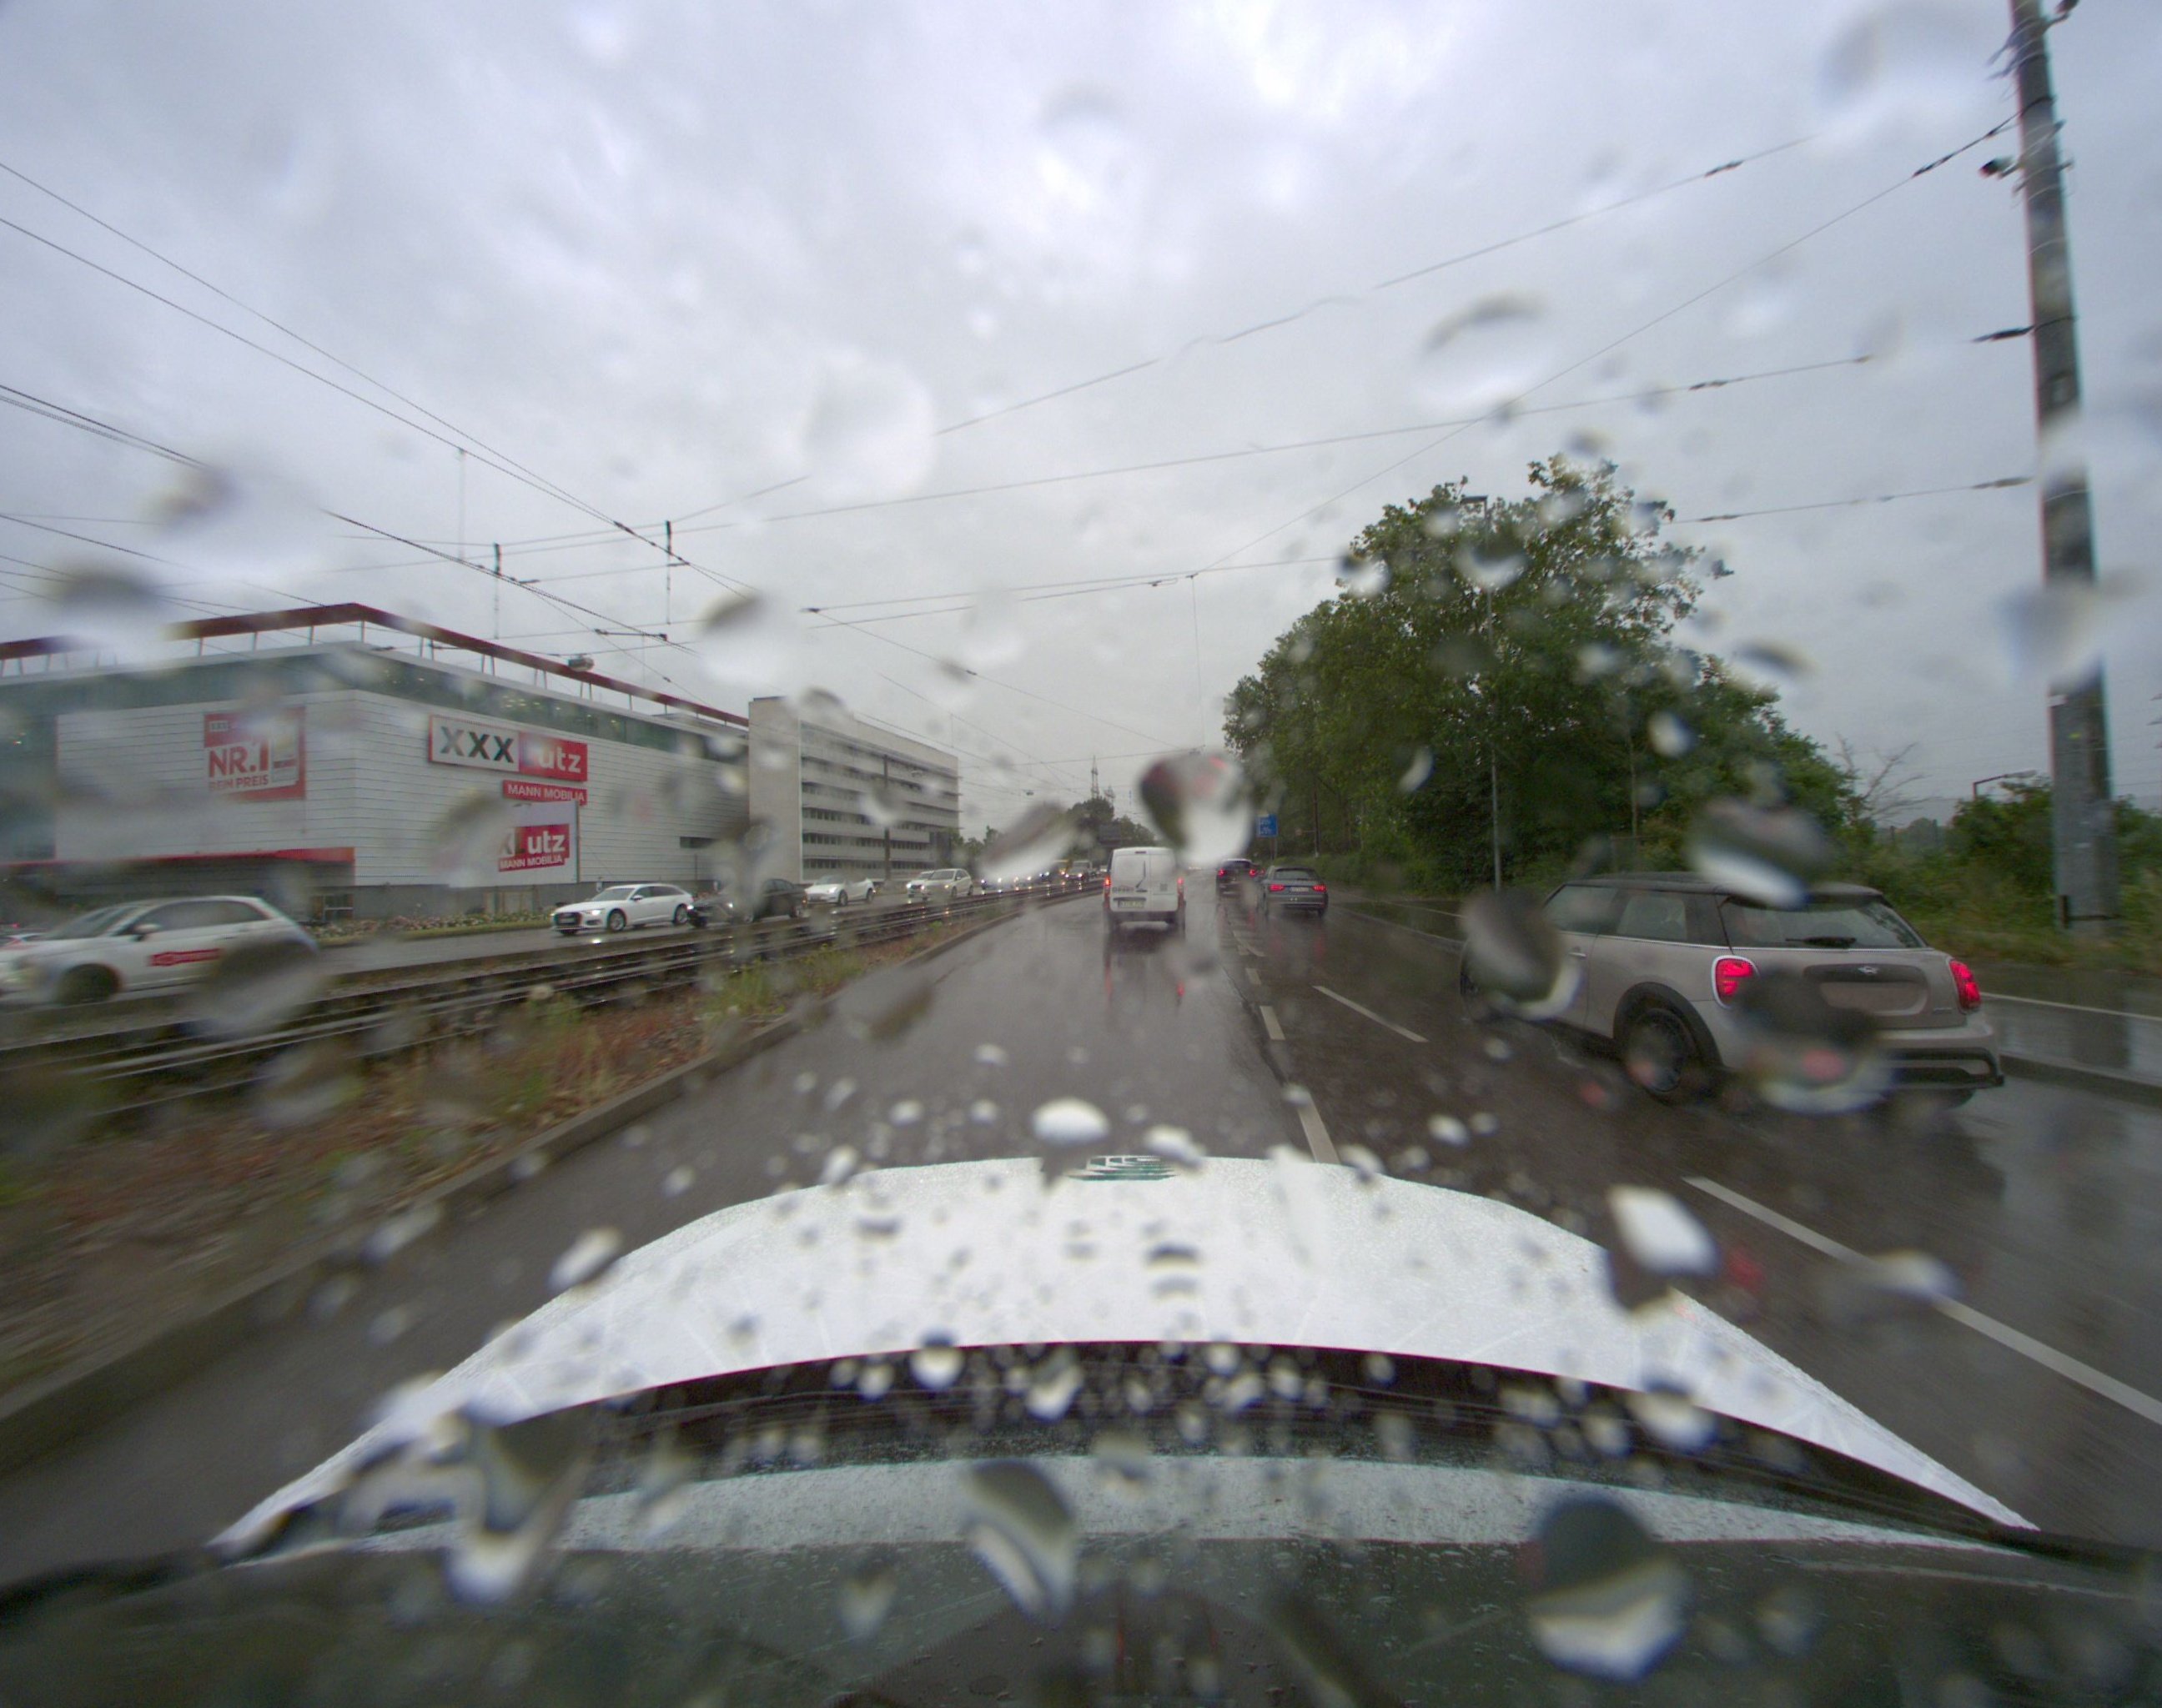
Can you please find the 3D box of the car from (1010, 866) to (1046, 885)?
[{"bbox_3d":[-4.710,1.911,73.370,1.845,1.618,4.924,-3,-2,12],"label":"car"}]

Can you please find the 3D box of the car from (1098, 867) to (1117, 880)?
[{"bbox_3d":[3.644,2.666,112.723,1.759,1.683,4.705,0,-1,13],"label":"car"}]

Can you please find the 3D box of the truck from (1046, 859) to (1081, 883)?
[{"bbox_3d":[-1.851,1.843,88.712,2.211,2.462,6.089,0,-1,14],"label":"truck"}]

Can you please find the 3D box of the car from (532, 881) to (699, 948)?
[{"bbox_3d":[-14.788,1.851,26.278,1.981,1.902,4.805,0,-1,11],"label":"car"}]

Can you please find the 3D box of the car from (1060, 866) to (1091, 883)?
[{"bbox_3d":[-0.501,1.966,78.441,1.981,1.457,4.685,-4,-2,11],"label":"car"}]

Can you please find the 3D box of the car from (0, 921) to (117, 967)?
[{"bbox_3d":[-55.811,4.828,44.211,1.982,2.014,4.009,0,-1,8],"label":"car"}]

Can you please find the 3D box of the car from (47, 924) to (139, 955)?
[{"bbox_3d":[-75.694,6.526,62.491,1.982,2.014,4.008,0,-1,8],"label":"car"}]

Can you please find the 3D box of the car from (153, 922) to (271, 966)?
[{"bbox_3d":[-48.108,4.916,45.193,1.982,2.014,4.009,0,-1,8],"label":"car"}]

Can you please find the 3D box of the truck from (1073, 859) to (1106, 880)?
[{"bbox_3d":[1.120,1.947,102.410,2.417,2.458,7.245,0,-1,14],"label":"truck"}]

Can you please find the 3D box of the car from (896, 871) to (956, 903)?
[{"bbox_3d":[-9.651,2.030,51.147,1.980,1.834,4.707,-2,-1,12],"label":"car"}]

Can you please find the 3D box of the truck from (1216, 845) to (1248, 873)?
[{"bbox_3d":[15.710,0.529,84.952,3.093,2.773,6.347,-1,-1,10],"label":"truck"}]

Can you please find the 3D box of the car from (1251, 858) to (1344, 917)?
[{"bbox_3d":[6.033,0.882,23.182,1.958,1.528,3.997,-1,0,6],"label":"car"}]

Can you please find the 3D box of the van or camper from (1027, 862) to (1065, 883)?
[{"bbox_3d":[-3.365,1.781,79.494,2.289,2.014,5.705,0,-1,13],"label":"van or camper"}]

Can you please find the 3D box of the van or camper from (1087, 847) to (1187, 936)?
[{"bbox_3d":[1.387,0.736,18.486,1.982,1.784,4.009,0,0,8],"label":"van or camper"}]

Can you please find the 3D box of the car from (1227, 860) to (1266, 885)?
[{"bbox_3d":[9.759,1.080,48.258,1.810,1.414,3.782,-1,0,4],"label":"car"}]

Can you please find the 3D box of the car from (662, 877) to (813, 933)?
[{"bbox_3d":[-10.915,1.562,26.368,1.910,1.423,5.100,0,0,12],"label":"car"}]

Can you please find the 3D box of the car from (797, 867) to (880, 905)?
[{"bbox_3d":[-11.743,1.517,39.844,1.896,1.606,4.855,1,0,10],"label":"car"}]

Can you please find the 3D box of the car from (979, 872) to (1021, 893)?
[{"bbox_3d":[-6.378,2.231,64.656,1.950,1.516,4.569,-4,-2,12],"label":"car"}]

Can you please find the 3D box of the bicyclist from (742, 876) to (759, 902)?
[{"bbox_3d":[-20.960,2.212,51.637,0.667,1.589,0.794,0,-1,11],"label":"bicyclist"}]

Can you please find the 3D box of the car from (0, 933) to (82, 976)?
[{"bbox_3d":[-58.426,5.516,44.719,1.982,2.014,4.009,0,-1,8],"label":"car"}]

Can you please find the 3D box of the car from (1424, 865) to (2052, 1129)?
[{"bbox_3d":[4.399,0.828,6.374,1.785,1.414,3.853,-1,-2,0],"label":"car"}]

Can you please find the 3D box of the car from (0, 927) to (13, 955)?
[{"bbox_3d":[-86.543,6.885,63.416,1.974,2.014,4.025,-1,-2,37],"label":"car"}]

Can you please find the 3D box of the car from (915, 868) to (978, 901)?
[{"bbox_3d":[-7.202,1.614,44.134,1.860,1.573,4.342,0,0,12],"label":"car"}]

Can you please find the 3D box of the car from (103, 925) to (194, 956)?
[{"bbox_3d":[-70.179,6.495,61.364,1.982,2.014,4.008,0,-1,8],"label":"car"}]

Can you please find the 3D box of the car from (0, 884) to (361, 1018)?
[{"bbox_3d":[-14.014,1.330,12.603,1.701,1.535,4.061,0,0,12],"label":"car"}]

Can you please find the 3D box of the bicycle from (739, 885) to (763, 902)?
[{"bbox_3d":[-20.950,2.510,51.693,0.664,1.016,1.560,0,-1,10],"label":"bicycle"}]

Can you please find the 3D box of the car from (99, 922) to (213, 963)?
[{"bbox_3d":[-55.163,5.240,48.674,1.982,2.014,4.009,0,-1,8],"label":"car"}]

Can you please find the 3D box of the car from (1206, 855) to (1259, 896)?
[{"bbox_3d":[6.654,0.893,36.161,1.890,1.717,4.733,-1,0,6],"label":"car"}]
